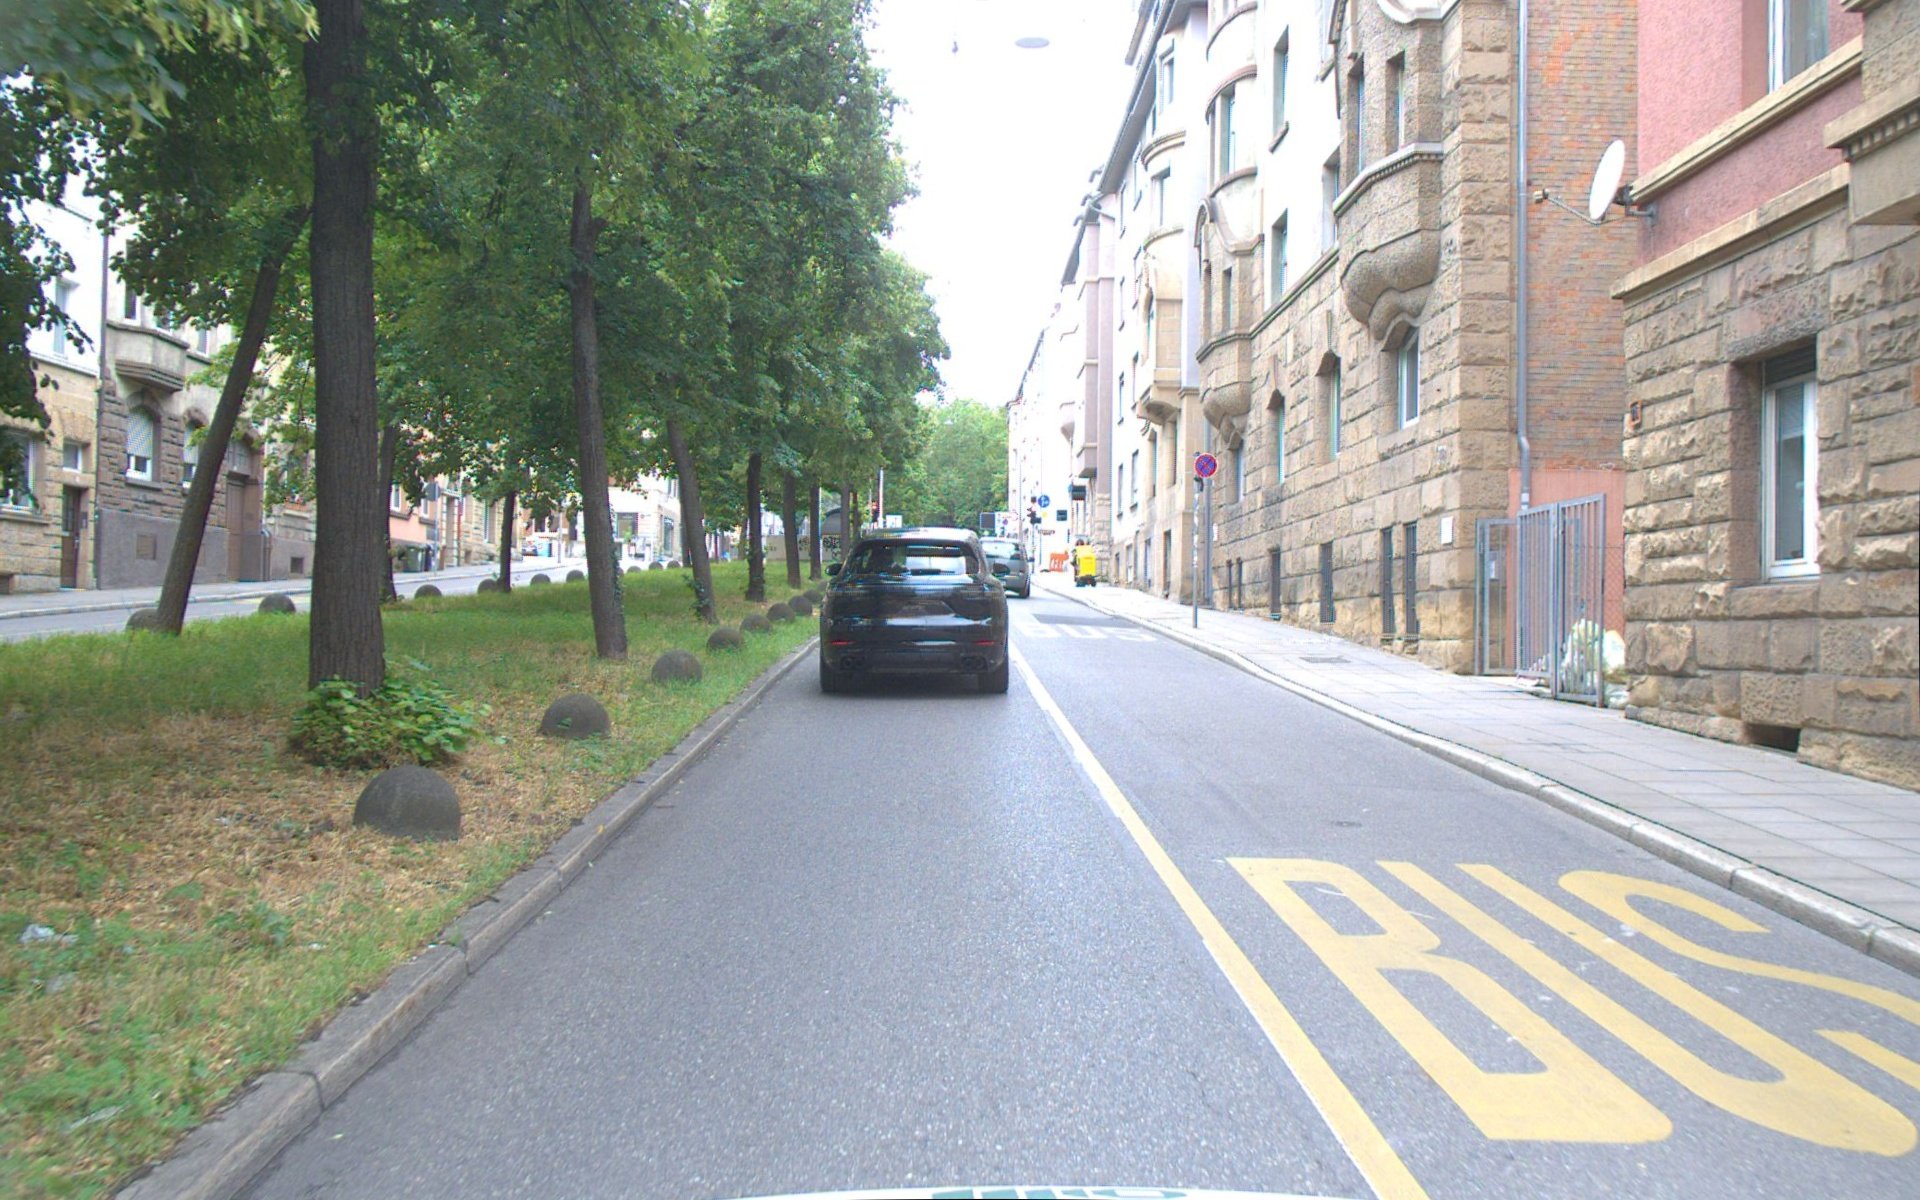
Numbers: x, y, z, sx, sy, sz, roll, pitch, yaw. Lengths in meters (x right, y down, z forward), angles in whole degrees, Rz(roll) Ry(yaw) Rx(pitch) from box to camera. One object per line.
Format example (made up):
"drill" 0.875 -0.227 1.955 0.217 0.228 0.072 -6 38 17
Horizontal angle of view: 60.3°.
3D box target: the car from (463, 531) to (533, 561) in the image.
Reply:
"car" -27.504 -3.189 98.505 3.915 1.694 1.878 0 0 32

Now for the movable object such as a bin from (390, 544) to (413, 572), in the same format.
"movable object such as a bin" -18.615 -1.394 55.104 0.597 0.920 0.601 1 2 -5

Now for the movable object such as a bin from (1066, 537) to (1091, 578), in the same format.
"movable object such as a bin" 4.271 -1.515 59.622 0.705 1.445 1.692 -1 1 -3

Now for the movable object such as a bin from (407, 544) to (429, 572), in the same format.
"movable object such as a bin" -18.742 -1.457 57.173 0.597 0.920 0.601 1 2 -5

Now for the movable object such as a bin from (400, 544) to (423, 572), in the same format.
"movable object such as a bin" -18.699 -1.435 56.420 0.597 0.920 0.601 1 2 -5

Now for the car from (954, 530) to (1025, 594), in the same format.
"car" 0.789 -1.111 46.525 1.717 1.620 3.630 1 3 -3

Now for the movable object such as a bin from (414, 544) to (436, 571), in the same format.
"movable object such as a bin" -18.728 -1.481 57.898 0.597 0.920 0.601 1 2 -5

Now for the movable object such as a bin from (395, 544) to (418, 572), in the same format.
"movable object such as a bin" -18.643 -1.415 55.738 0.597 0.920 0.601 1 2 -5

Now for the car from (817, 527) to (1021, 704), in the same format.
"car" -0.410 0.063 17.930 1.953 1.681 4.001 0 2 -1
